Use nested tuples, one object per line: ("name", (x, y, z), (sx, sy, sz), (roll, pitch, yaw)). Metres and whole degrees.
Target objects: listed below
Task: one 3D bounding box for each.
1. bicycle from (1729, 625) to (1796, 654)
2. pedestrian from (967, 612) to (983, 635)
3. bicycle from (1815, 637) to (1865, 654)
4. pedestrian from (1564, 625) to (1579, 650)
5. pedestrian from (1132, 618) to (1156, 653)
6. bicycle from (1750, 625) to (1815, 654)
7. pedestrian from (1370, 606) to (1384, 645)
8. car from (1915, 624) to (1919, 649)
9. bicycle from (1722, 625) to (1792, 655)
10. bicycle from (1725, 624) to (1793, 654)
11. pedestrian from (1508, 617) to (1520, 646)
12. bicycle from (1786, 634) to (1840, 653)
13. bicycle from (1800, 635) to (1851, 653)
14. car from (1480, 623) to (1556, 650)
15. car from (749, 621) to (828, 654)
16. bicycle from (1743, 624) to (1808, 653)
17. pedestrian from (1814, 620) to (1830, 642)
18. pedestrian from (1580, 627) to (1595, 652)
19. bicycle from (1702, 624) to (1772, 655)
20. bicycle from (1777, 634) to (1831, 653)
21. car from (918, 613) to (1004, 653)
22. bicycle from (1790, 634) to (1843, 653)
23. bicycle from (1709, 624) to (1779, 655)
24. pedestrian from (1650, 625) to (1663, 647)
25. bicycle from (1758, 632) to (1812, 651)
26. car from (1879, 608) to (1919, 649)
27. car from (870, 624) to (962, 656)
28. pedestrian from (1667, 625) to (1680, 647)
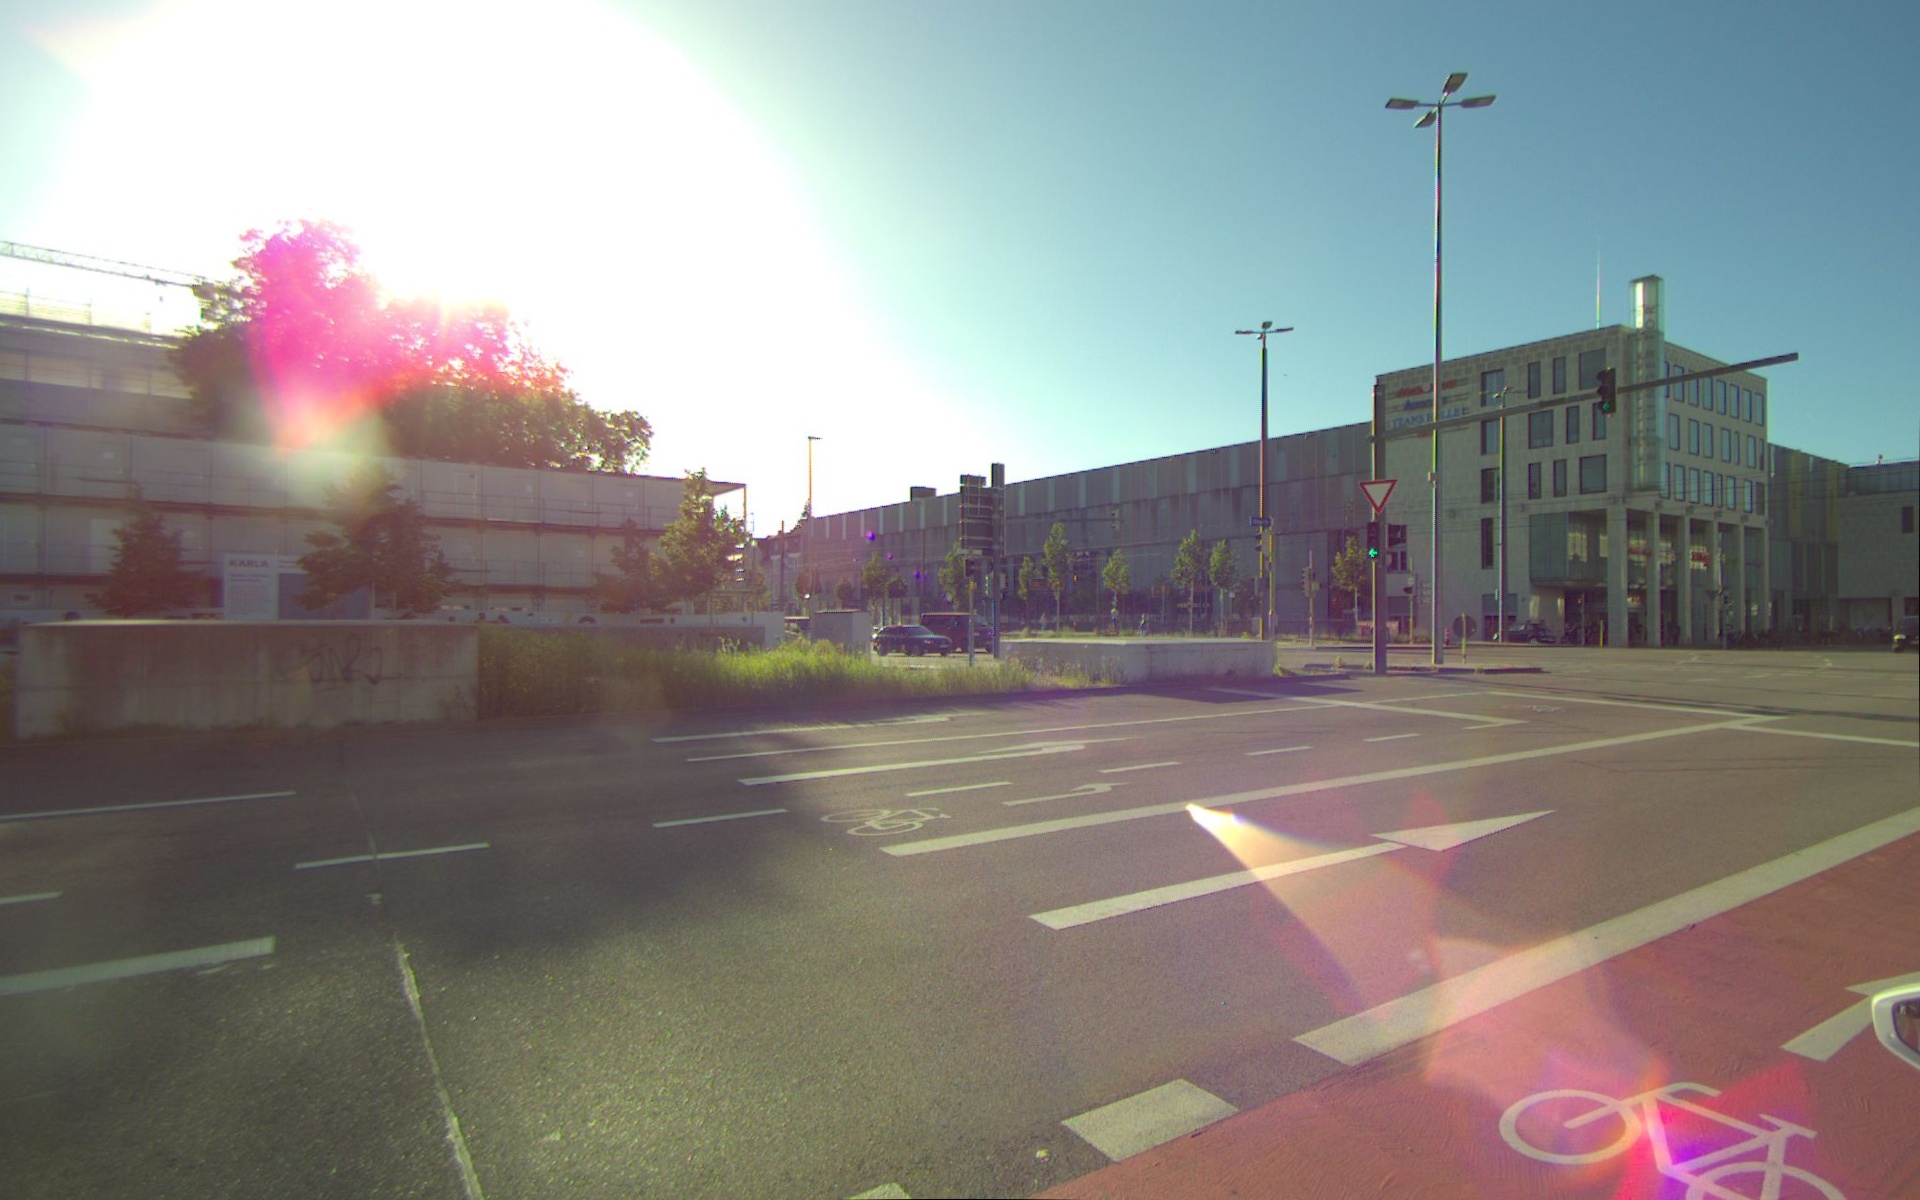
("bicycle", (57.587, 2.796, 72.099), (1.076, 2.040, 3.596), (1, -2, -36))
("pedestrian", (0.992, 1.565, 66.670), (0.718, 1.522, 0.794), (1, -1, -41))
("bicycle", (73.155, 3.754, 83.506), (0.894, 1.419, 3.029), (1, -2, -36))
("pedestrian", (40.546, 2.469, 66.615), (0.646, 1.629, 0.619), (1, -1, -34))
("pedestrian", (8.028, 1.543, 43.876), (0.797, 1.522, 0.715), (1, -1, -42))
("bicycle", (60.809, 2.918, 74.282), (0.894, 2.040, 3.596), (1, -2, -36))
("pedestrian", (22.318, 1.366, 53.731), (0.509, 2.040, 0.621), (-1, -1, 44))
("car", (55.928, 1.998, 56.335), (4.585, 1.374, 1.987), (-1, 0, -27))
("bicycle", (54.742, 2.748, 69.012), (1.076, 2.040, 3.596), (1, -2, -36))
("bicycle", (56.707, 2.764, 71.366), (1.076, 2.040, 3.596), (1, -2, -36))
("pedestrian", (38.560, 2.206, 69.903), (0.512, 2.040, 0.617), (1, -1, -41))
("bicycle", (66.657, 3.384, 78.520), (0.894, 1.419, 3.029), (1, -2, -36))
("bicycle", (69.850, 3.573, 81.084), (0.894, 1.419, 3.029), (1, -2, -36))
("car", (34.733, 2.260, 62.631), (1.764, 1.584, 3.753), (0, -1, -34))
("car", (-9.159, 2.011, 53.340), (2.120, 1.631, 4.601), (3, -4, -40))
("bicycle", (59.364, 2.794, 73.157), (0.894, 2.040, 3.596), (1, -2, -36))
("pedestrian", (62.661, 2.251, 72.995), (0.731, 1.629, 0.623), (-1, -1, 30))
("pedestrian", (41.042, 2.591, 65.734), (0.646, 1.629, 0.619), (1, -1, -34))
("bicycle", (52.309, 2.641, 67.687), (1.078, 2.040, 3.591), (1, -2, -40))
("bicycle", (65.100, 3.310, 77.491), (0.894, 1.419, 3.029), (1, -2, -36))
("car", (0.012, 1.711, 50.847), (1.857, 1.833, 4.602), (3, -5, -40))
("bicycle", (67.730, 3.415, 79.440), (0.894, 1.419, 3.029), (1, -2, -36))
("bicycle", (53.387, 2.682, 68.458), (1.076, 2.040, 3.596), (1, -2, -36))
("pedestrian", (50.571, 2.615, 72.956), (0.613, 1.629, 0.653), (-1, -1, 22))
("bicycle", (61.532, 3.069, 74.946), (0.894, 1.419, 3.029), (1, -2, -36))
("car", (44.281, 1.314, 46.762), (1.973, 1.765, 4.616), (-1, 0, 45))
("car", (-2.105, 1.877, 46.771), (1.857, 1.392, 4.601), (3, -4, -40))
("pedestrian", (51.496, 2.592, 72.507), (0.613, 1.629, 0.653), (-1, -1, 22))
